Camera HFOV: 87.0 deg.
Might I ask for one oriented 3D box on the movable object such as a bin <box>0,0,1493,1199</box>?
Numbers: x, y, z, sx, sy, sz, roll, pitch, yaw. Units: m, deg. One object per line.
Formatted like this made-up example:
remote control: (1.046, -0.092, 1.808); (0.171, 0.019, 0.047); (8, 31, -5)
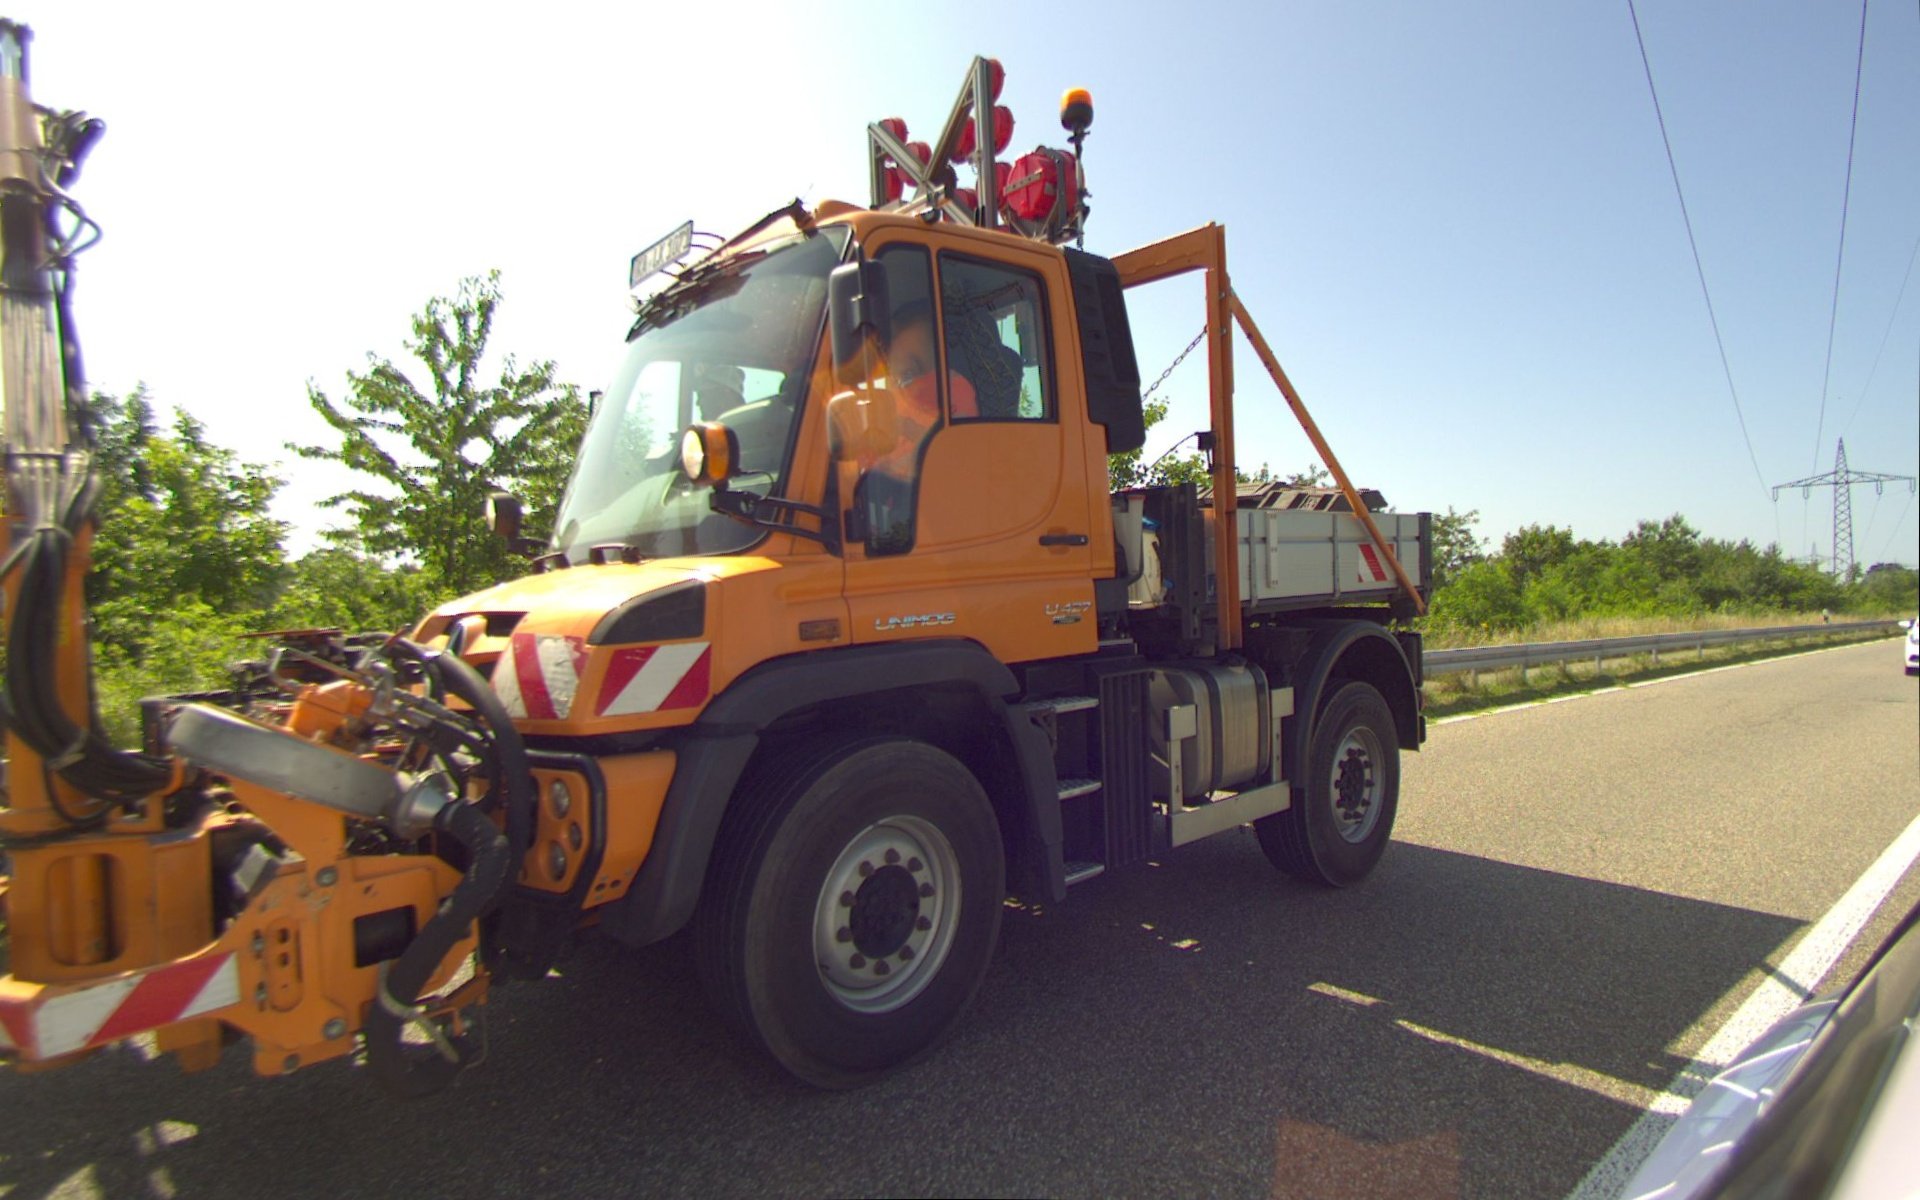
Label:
movable object such as a bin: (-1.382, -0.523, 3.594); (9.282, 3.888, 2.757); (0, 0, -42)

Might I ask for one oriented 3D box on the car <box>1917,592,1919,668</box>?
car: (21.309, 0.605, 21.131); (1.918, 1.524, 4.718); (1, 0, 44)
